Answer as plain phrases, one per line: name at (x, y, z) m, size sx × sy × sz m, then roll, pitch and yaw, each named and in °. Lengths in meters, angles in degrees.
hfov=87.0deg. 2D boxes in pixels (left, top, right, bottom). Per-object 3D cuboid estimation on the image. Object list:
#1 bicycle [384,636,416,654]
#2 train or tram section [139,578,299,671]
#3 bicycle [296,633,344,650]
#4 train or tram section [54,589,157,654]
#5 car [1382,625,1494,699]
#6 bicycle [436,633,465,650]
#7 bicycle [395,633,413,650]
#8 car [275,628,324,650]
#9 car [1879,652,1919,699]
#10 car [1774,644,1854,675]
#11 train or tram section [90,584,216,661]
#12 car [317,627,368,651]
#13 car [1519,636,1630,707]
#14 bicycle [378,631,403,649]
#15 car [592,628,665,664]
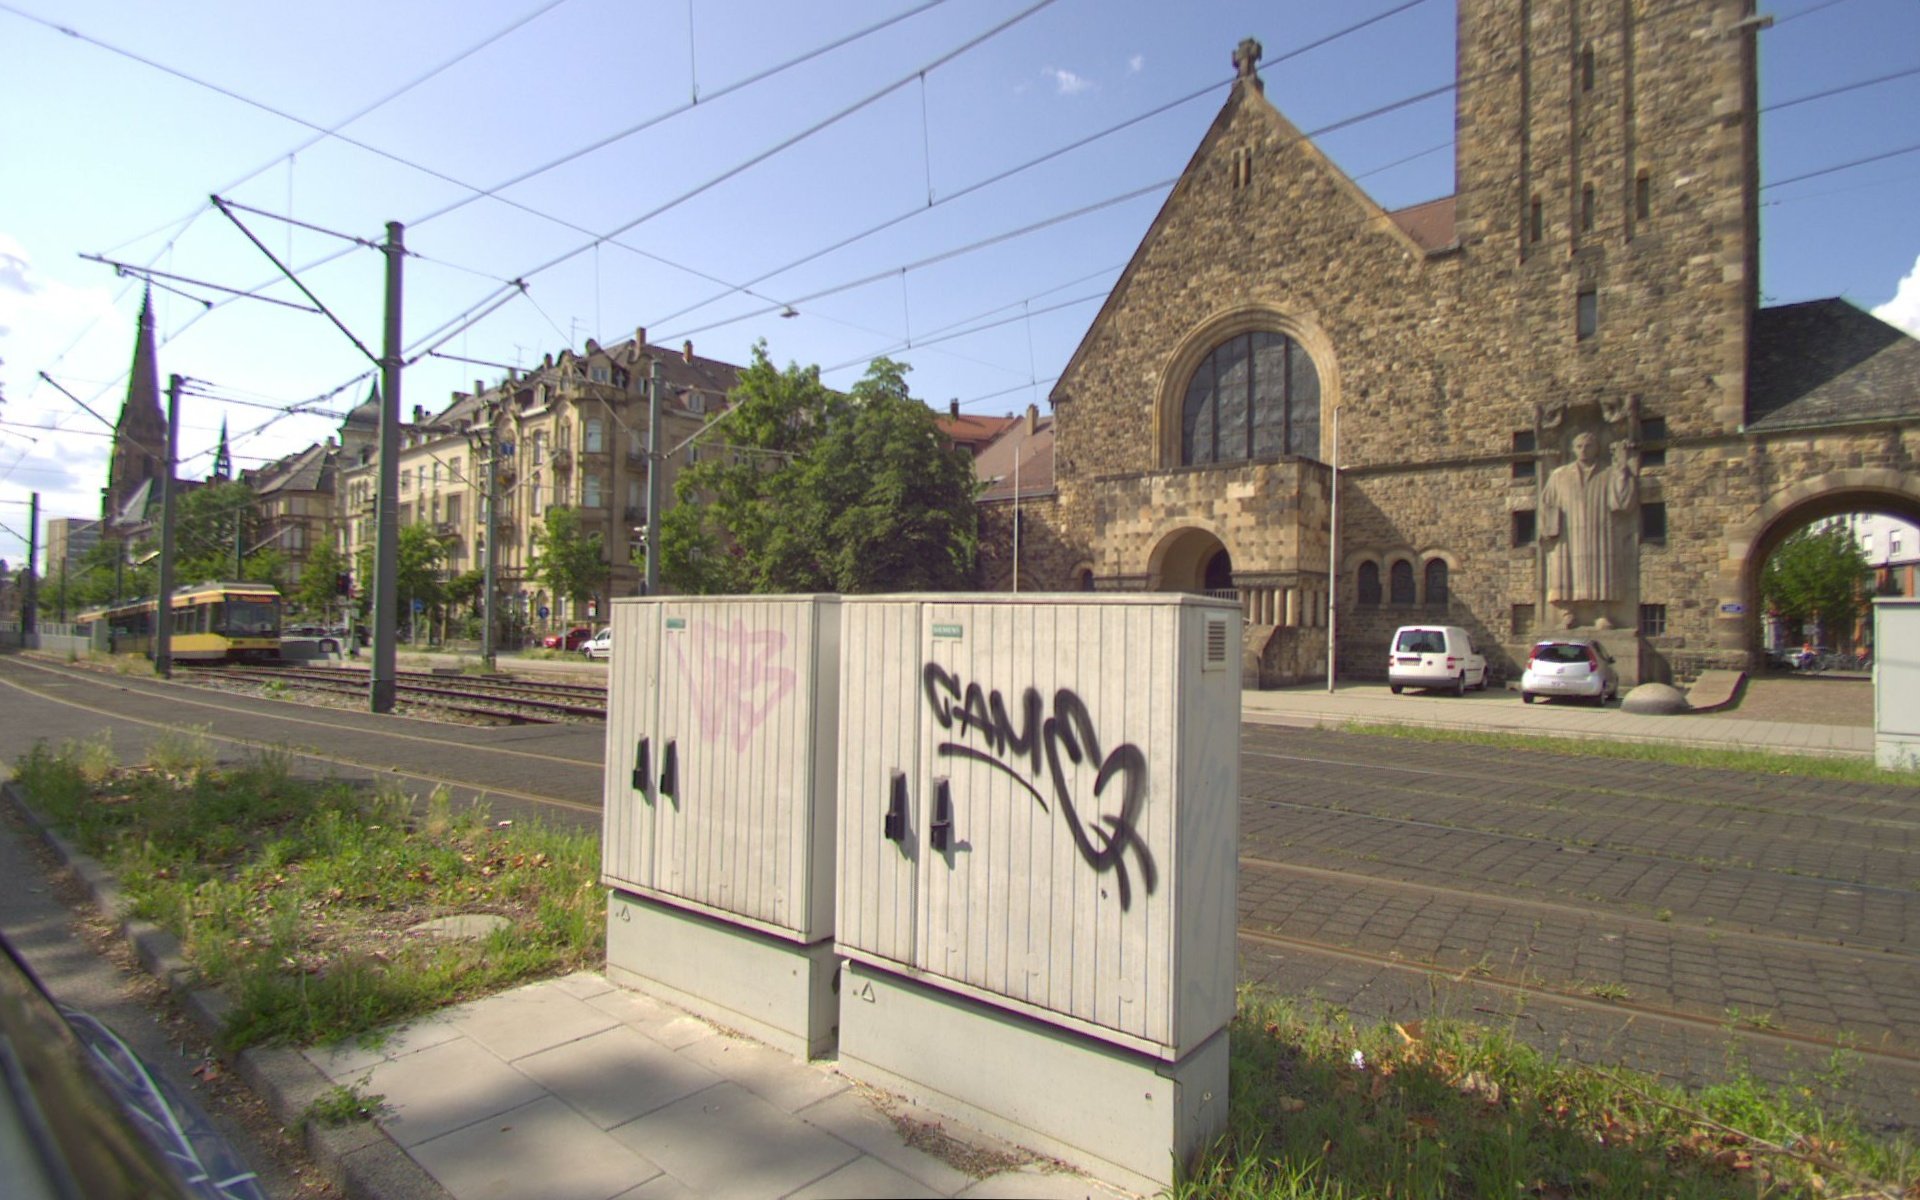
bicycle at (-34.534, 2.791, 62.417) m, size 0.470 × 1.077 × 1.690 m, roll -1°, pitch -3°, yaw 36°
train or tram section at (-32.693, 1.072, 44.320) m, size 12.829 × 3.607 × 2.823 m, roll -1°, pitch -3°, yaw 41°
bicycle at (-46.071, 2.990, 72.889) m, size 0.790 × 1.256 × 2.926 m, roll -1°, pitch -3°, yaw 29°
train or tram section at (-51.966, 1.334, 61.360) m, size 12.829 × 3.607 × 2.823 m, roll -1°, pitch -3°, yaw 41°
car at (13.086, 1.637, 27.595) m, size 1.862 × 1.838 × 3.962 m, roll 0°, pitch -2°, yaw 39°
bicycle at (-34.473, 2.779, 68.492) m, size 0.470 × 1.077 × 1.690 m, roll -1°, pitch 0°, yaw 36°
bicycle at (-38.206, 2.859, 69.533) m, size 2.023 × 1.148 × 0.423 m, roll -1°, pitch 0°, yaw 42°
car at (-48.935, 2.875, 74.969) m, size 4.484 × 1.538 × 1.781 m, roll -1°, pitch -1°, yaw 39°
car at (35.599, 2.734, 35.863) m, size 1.998 × 1.665 × 3.983 m, roll 1°, pitch -2°, yaw -16°
car at (46.848, 3.252, 55.631) m, size 1.779 × 1.609 × 4.051 m, roll 0°, pitch -2°, yaw 16°
train or tram section at (-42.345, 1.198, 52.867) m, size 12.829 × 3.607 × 2.823 m, roll -1°, pitch -3°, yaw 41°
car at (-41.613, 2.614, 68.135) m, size 4.708 × 1.514 × 1.667 m, roll -1°, pitch -3°, yaw 43°
car at (15.175, 1.706, 24.927) m, size 1.797 × 1.559 × 3.728 m, roll 0°, pitch -2°, yaw 40°
bicycle at (-40.249, 2.827, 71.534) m, size 2.942 × 1.258 × 0.650 m, roll -1°, pitch 0°, yaw 42°
car at (-14.487, 2.004, 44.111) m, size 1.647 × 1.427 × 3.851 m, roll 5°, pitch -4°, yaw -39°
